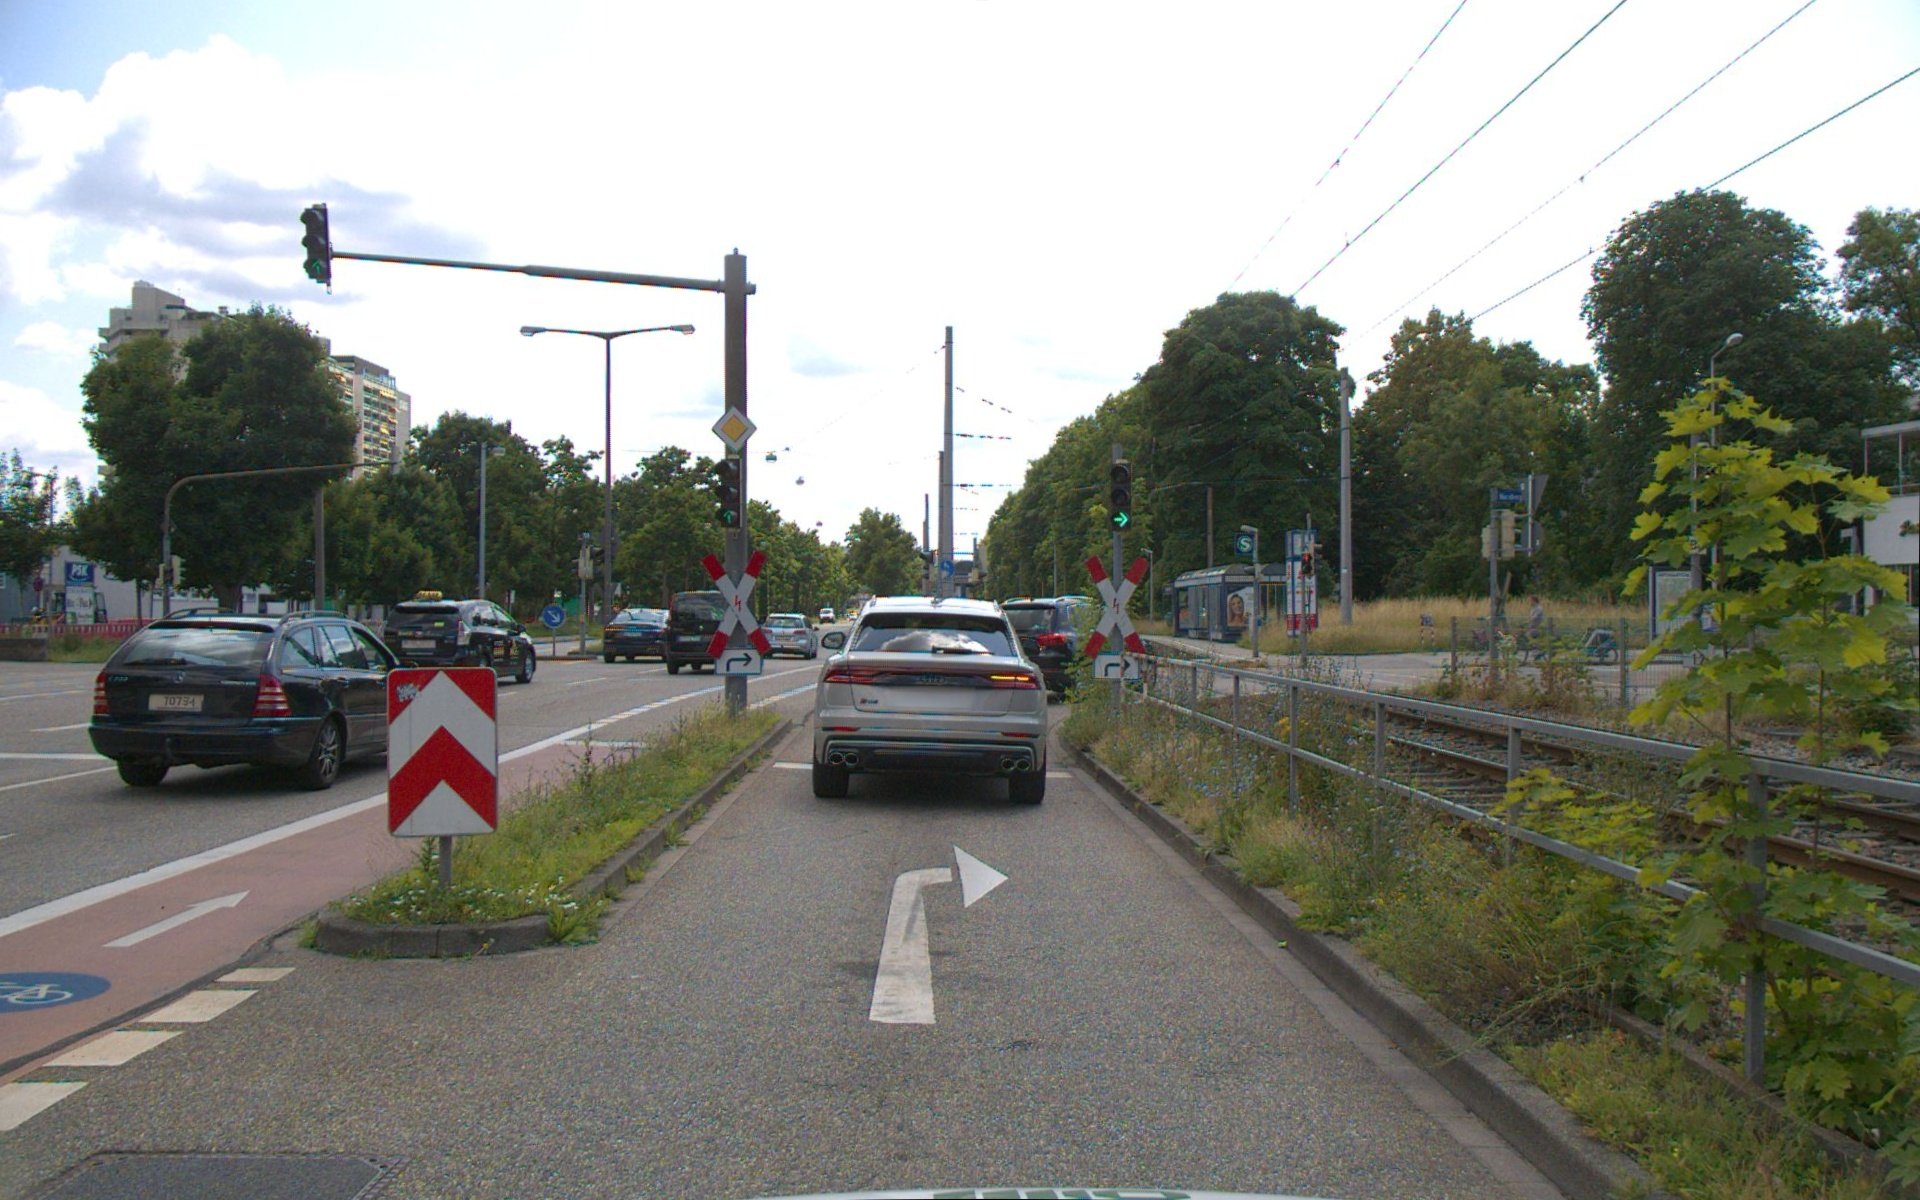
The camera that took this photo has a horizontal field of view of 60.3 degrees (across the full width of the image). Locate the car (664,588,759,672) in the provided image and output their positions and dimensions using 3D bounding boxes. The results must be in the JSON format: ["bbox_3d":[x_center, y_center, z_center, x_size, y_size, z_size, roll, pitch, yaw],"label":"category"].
[{"bbox_3d":[-5.711,0.686,38.366,1.724,1.809,3.907,1,-1,-3],"label":"car"}]

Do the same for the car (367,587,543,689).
[{"bbox_3d":[-9.054,0.670,30.025,1.749,1.697,4.340,1,-1,1],"label":"car"}]

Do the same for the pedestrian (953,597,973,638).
[{"bbox_3d":[0.113,0.670,62.554,0.642,1.540,0.716,0,-1,-10],"label":"pedestrian"}]

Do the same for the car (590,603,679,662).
[{"bbox_3d":[-8.961,0.876,45.820,1.827,1.531,3.997,1,-1,-3],"label":"car"}]

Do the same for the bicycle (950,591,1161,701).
[{"bbox_3d":[1.691,0.729,27.876,1.956,1.704,4.202,-1,0,29],"label":"bicycle"}]

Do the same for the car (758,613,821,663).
[{"bbox_3d":[-5.612,1.241,54.897,1.749,1.552,4.299,1,-1,-2],"label":"car"}]

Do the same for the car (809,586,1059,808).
[{"bbox_3d":[-0.218,0.790,15.291,1.941,1.713,4.573,1,-1,-1],"label":"car"}]

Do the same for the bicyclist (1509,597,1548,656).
[{"bbox_3d":[14.564,0.685,42.390,0.821,1.501,0.455,0,-1,1],"label":"bicyclist"}]

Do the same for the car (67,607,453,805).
[{"bbox_3d":[-6.029,0.843,14.870,1.720,1.492,4.431,1,-1,-3],"label":"car"}]

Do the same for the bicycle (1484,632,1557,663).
[{"bbox_3d":[14.324,1.216,42.304,1.686,0.778,0.555,1,-1,1],"label":"bicycle"}]

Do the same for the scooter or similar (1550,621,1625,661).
[{"bbox_3d":[15.980,1.043,42.180,1.542,0.997,0.962,-1,-1,1],"label":"scooter or similar"}]
